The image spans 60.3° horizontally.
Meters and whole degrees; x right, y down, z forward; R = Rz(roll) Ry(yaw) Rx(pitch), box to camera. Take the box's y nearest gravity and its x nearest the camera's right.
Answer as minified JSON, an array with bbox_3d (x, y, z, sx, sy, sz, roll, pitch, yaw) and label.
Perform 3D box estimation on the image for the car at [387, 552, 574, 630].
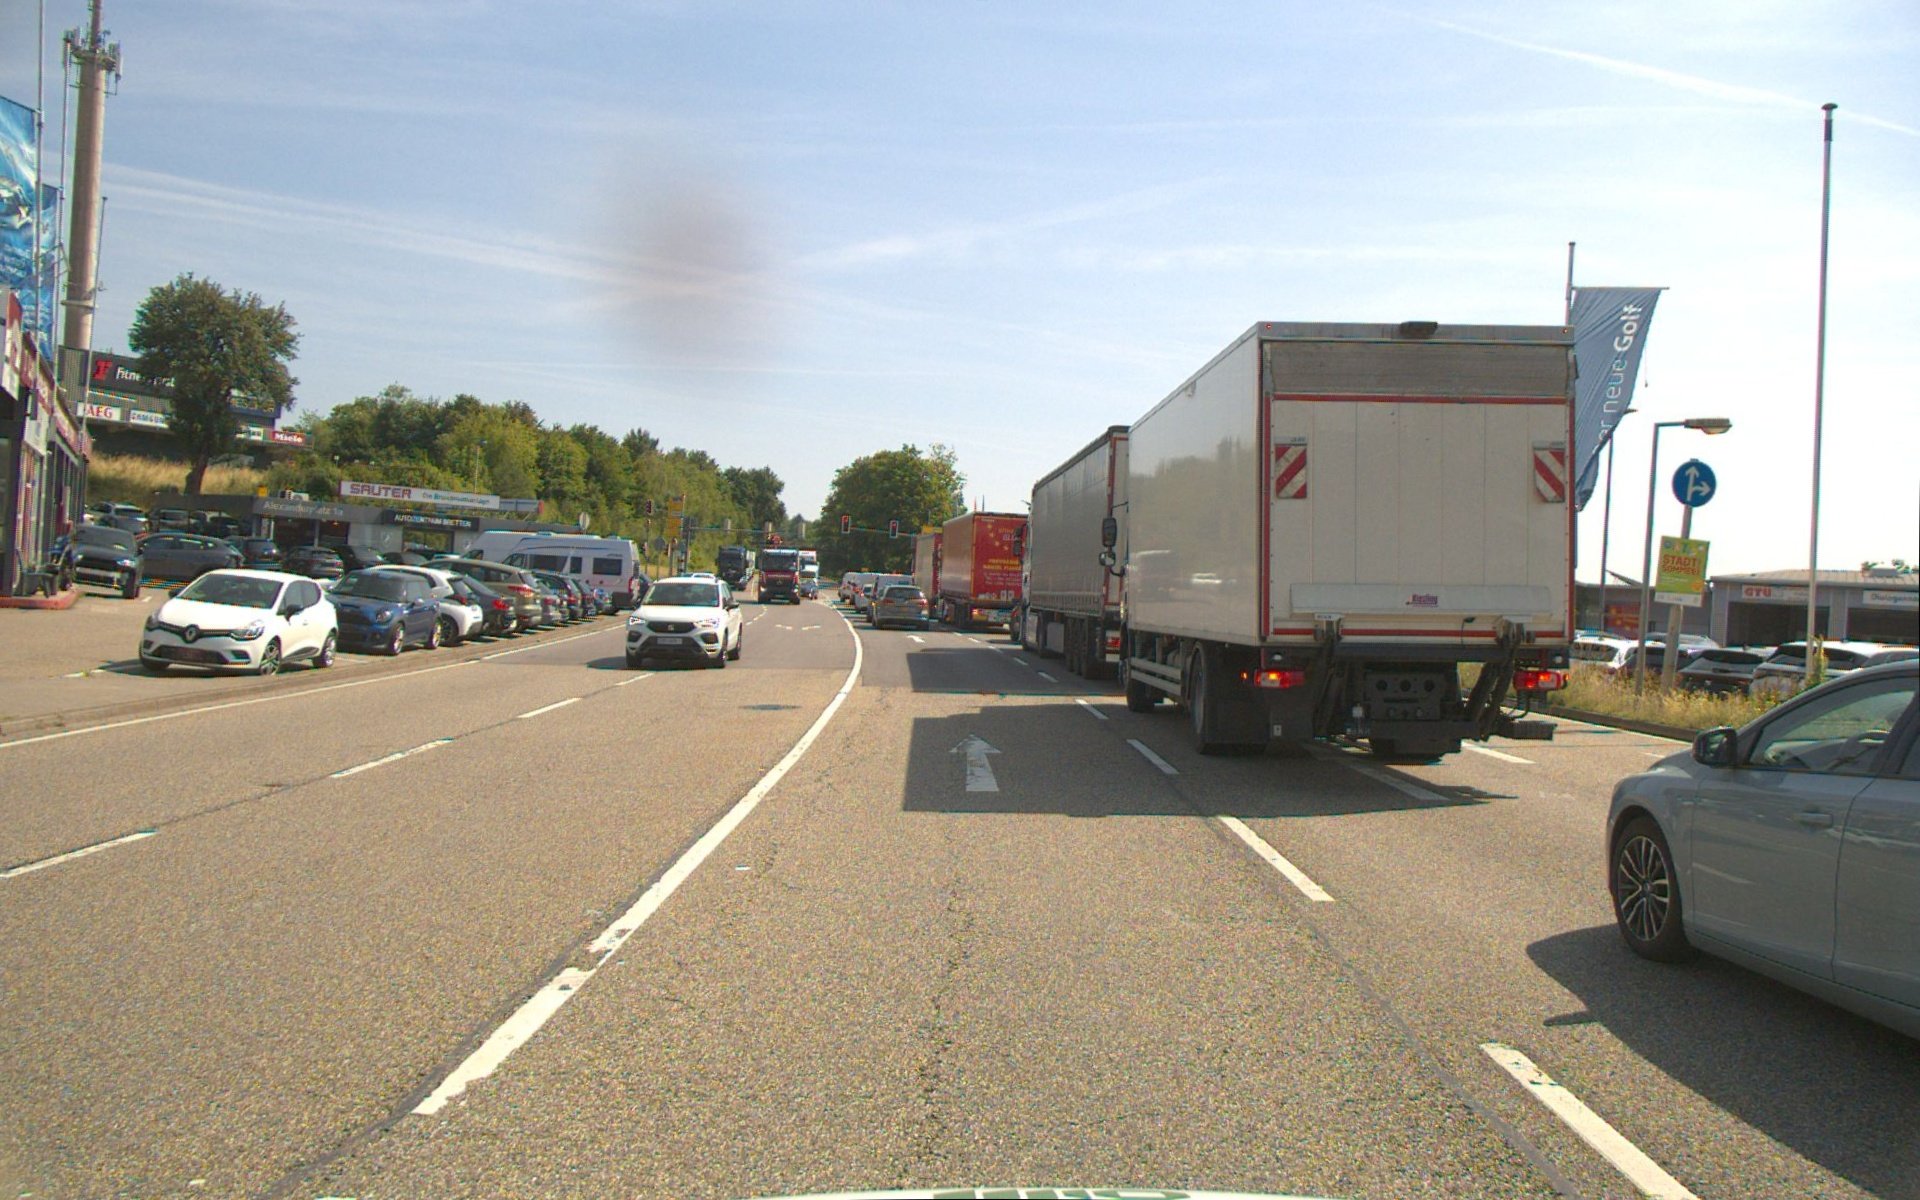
[{"bbox_3d":[-12.167,-0.231,42.202,4.197,1.510,1.834,6,0,-7],"label":"car"}]

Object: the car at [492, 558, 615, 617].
[{"bbox_3d":[-13.383,-0.407,54.617,3.638,1.510,1.705,6,0,-7],"label":"car"}]

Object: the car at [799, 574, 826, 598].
[{"bbox_3d":[-10.381,-1.018,116.439,1.770,1.587,4.384,2,1,-4],"label":"car"}]

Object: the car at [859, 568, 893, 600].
[{"bbox_3d":[-4.435,-0.820,87.672,1.692,1.545,3.310,3,0,-3],"label":"car"}]

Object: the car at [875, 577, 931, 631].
[{"bbox_3d":[-1.881,0.110,55.053,1.754,1.667,3.502,2,0,-2],"label":"car"}]

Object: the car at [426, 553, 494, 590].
[{"bbox_3d":[-23.118,-1.334,76.452,1.751,1.616,3.778,2,1,-38],"label":"car"}]

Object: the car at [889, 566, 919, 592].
[{"bbox_3d":[-3.710,-1.341,108.420,1.693,1.545,3.308,3,0,-5],"label":"car"}]

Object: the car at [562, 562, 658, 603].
[{"bbox_3d":[-14.815,-0.742,70.199,3.743,1.566,1.840,2,0,-6],"label":"car"}]

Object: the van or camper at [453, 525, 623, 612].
[{"bbox_3d":[-15.863,-1.189,62.481,5.777,2.923,2.288,3,1,-5],"label":"van or camper"}]

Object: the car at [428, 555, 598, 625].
[{"bbox_3d":[-12.793,-0.286,47.570,4.375,1.510,1.769,6,0,-7],"label":"car"}]

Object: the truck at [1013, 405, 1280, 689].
[{"bbox_3d":[3.201,-0.907,34.309,2.832,4.340,16.702,2,0,-2],"label":"truck"}]

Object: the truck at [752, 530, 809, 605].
[{"bbox_3d":[-10.826,-1.928,100.601,2.897,4.282,10.640,1,1,-3],"label":"truck"}]

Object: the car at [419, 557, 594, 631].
[{"bbox_3d":[-12.246,-0.162,44.864,4.217,1.510,1.796,6,0,-6],"label":"car"}]

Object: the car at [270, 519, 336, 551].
[{"bbox_3d":[-33.199,-3.270,83.502,3.686,1.476,1.724,3,0,45],"label":"car"}]

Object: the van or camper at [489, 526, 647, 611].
[{"bbox_3d":[-14.198,-1.138,60.172,5.142,2.779,2.209,3,0,-4],"label":"van or camper"}]

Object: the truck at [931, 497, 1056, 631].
[{"bbox_3d":[0.997,-1.326,63.559,2.899,4.344,16.568,3,1,-5],"label":"truck"}]

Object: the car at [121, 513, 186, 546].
[{"bbox_3d":[-39.548,-3.447,81.078,3.686,1.476,1.724,3,0,45],"label":"car"}]

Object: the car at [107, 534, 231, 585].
[{"bbox_3d":[-27.278,-1.386,57.046,3.773,1.616,1.753,2,0,-28],"label":"car"}]

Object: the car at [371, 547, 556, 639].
[{"bbox_3d":[-11.805,-0.165,39.559,3.813,1.746,1.804,6,0,-7],"label":"car"}]

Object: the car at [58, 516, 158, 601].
[{"bbox_3d":[-20.429,-0.969,39.593,1.802,1.703,4.087,8,-4,-29],"label":"car"}]

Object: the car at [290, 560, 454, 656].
[{"bbox_3d":[-11.060,0.125,31.374,1.744,1.519,3.780,7,0,-3],"label":"car"}]

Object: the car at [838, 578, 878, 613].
[{"bbox_3d":[-4.894,-0.211,78.883,1.694,1.545,3.308,3,0,-6],"label":"car"}]

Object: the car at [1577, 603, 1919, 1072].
[{"bbox_3d":[3.872,0.791,5.827,1.700,1.453,4.224,3,0,-1],"label":"car"}]

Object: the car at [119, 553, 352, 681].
[{"bbox_3d":[-10.544,0.223,24.404,1.744,1.646,3.998,3,0,-3],"label":"car"}]

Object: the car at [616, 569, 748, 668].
[{"bbox_3d":[-5.140,0.315,31.087,1.896,1.703,3.999,1,0,-2],"label":"car"}]

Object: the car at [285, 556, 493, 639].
[{"bbox_3d":[-11.832,-0.055,34.466,3.723,1.552,1.844,2,0,-7],"label":"car"}]

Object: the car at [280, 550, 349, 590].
[{"bbox_3d":[-27.859,-1.312,71.326,1.751,1.616,3.778,2,1,-38],"label":"car"}]

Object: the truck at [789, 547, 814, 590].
[{"bbox_3d":[-16.783,-3.327,175.546,2.503,4.382,7.588,1,1,-5],"label":"truck"}]

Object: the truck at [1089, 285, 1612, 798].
[{"bbox_3d":[3.477,-0.496,18.441,2.821,3.877,11.139,2,0,-1],"label":"truck"}]

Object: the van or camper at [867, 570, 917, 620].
[{"bbox_3d":[-2.887,-0.241,69.567,1.817,1.939,3.780,3,0,-5],"label":"van or camper"}]

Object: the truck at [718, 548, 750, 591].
[{"bbox_3d":[-20.671,-2.792,151.325,2.760,3.852,6.976,1,1,-9],"label":"truck"}]

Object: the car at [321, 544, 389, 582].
[{"bbox_3d":[-26.829,-1.654,73.337,1.751,1.616,3.778,2,1,-38],"label":"car"}]

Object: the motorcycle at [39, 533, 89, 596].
[{"bbox_3d":[-19.159,-0.752,35.390,0.760,1.283,2.039,2,0,-25],"label":"motorcycle"}]

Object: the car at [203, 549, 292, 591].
[{"bbox_3d":[-30.328,-1.287,70.369,3.752,1.616,1.763,2,1,35],"label":"car"}]

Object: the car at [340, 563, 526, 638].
[{"bbox_3d":[-11.769,0.004,37.133,3.637,1.552,1.790,2,1,-7],"label":"car"}]

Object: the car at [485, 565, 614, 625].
[{"bbox_3d":[-12.957,-0.170,52.372,3.637,1.582,1.706,4,2,-7],"label":"car"}]

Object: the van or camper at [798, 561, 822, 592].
[{"bbox_3d":[-14.675,-2.286,161.834,2.181,2.890,5.705,3,0,-5],"label":"van or camper"}]

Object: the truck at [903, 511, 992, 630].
[{"bbox_3d":[-0.859,-1.462,84.055,3.003,5.311,16.990,3,1,-5],"label":"truck"}]

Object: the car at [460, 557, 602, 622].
[{"bbox_3d":[-12.851,-0.307,49.711,3.772,1.510,1.799,6,0,-7],"label":"car"}]

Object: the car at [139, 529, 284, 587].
[{"bbox_3d":[-22.708,-1.260,50.182,3.892,1.559,1.753,2,0,-28],"label":"car"}]

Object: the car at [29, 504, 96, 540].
[{"bbox_3d":[-42.572,-3.689,78.430,3.686,1.564,1.724,3,0,45],"label":"car"}]

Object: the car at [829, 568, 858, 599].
[{"bbox_3d":[-7.709,-1.091,109.918,1.692,1.942,3.311,3,0,-2],"label":"car"}]

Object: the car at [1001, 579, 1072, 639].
[{"bbox_3d":[2.303,0.241,50.658,1.782,1.714,3.998,2,1,-3],"label":"car"}]
